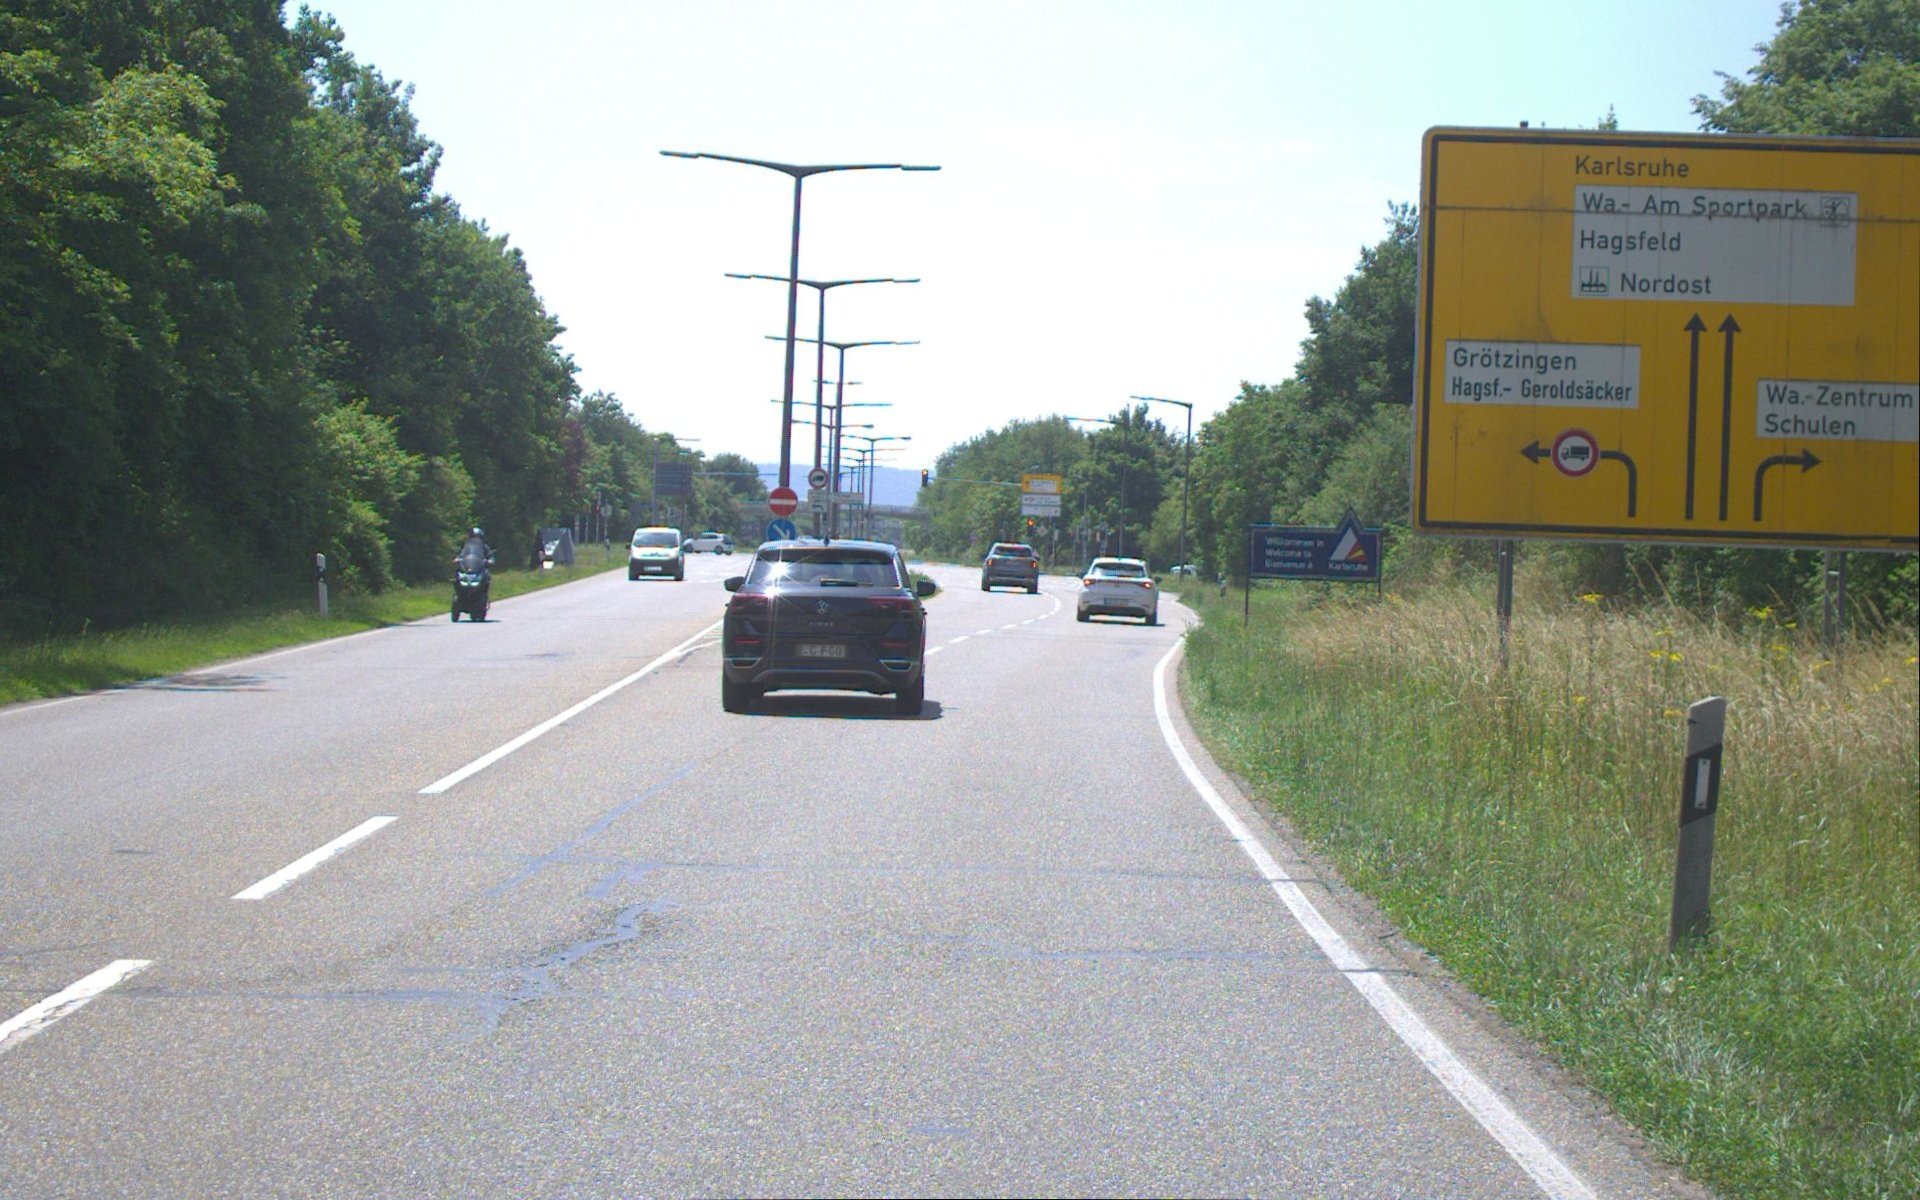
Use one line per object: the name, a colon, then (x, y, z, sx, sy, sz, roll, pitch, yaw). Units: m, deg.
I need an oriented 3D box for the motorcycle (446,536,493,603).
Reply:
motorcycle: (-8.808, -0.553, 61.807, 0.670, 1.170, 2.232, 1, 1, -4)

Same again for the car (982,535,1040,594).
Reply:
car: (1.756, -1.250, 120.473, 1.755, 1.922, 4.000, 3, 1, -2)

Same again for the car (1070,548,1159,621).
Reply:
car: (3.426, -0.364, 77.013, 1.797, 1.577, 4.000, 0, 1, 0)

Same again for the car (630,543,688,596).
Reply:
car: (-9.848, -1.016, 112.743, 1.731, 1.682, 4.096, 0, 1, -2)

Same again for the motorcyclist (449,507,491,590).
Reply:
motorcyclist: (-8.783, -0.928, 61.633, 0.670, 1.470, 0.814, 1, 1, -5)

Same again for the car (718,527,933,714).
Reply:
car: (-1.291, 0.149, 31.455, 1.755, 1.551, 4.001, 2, 1, -5)
